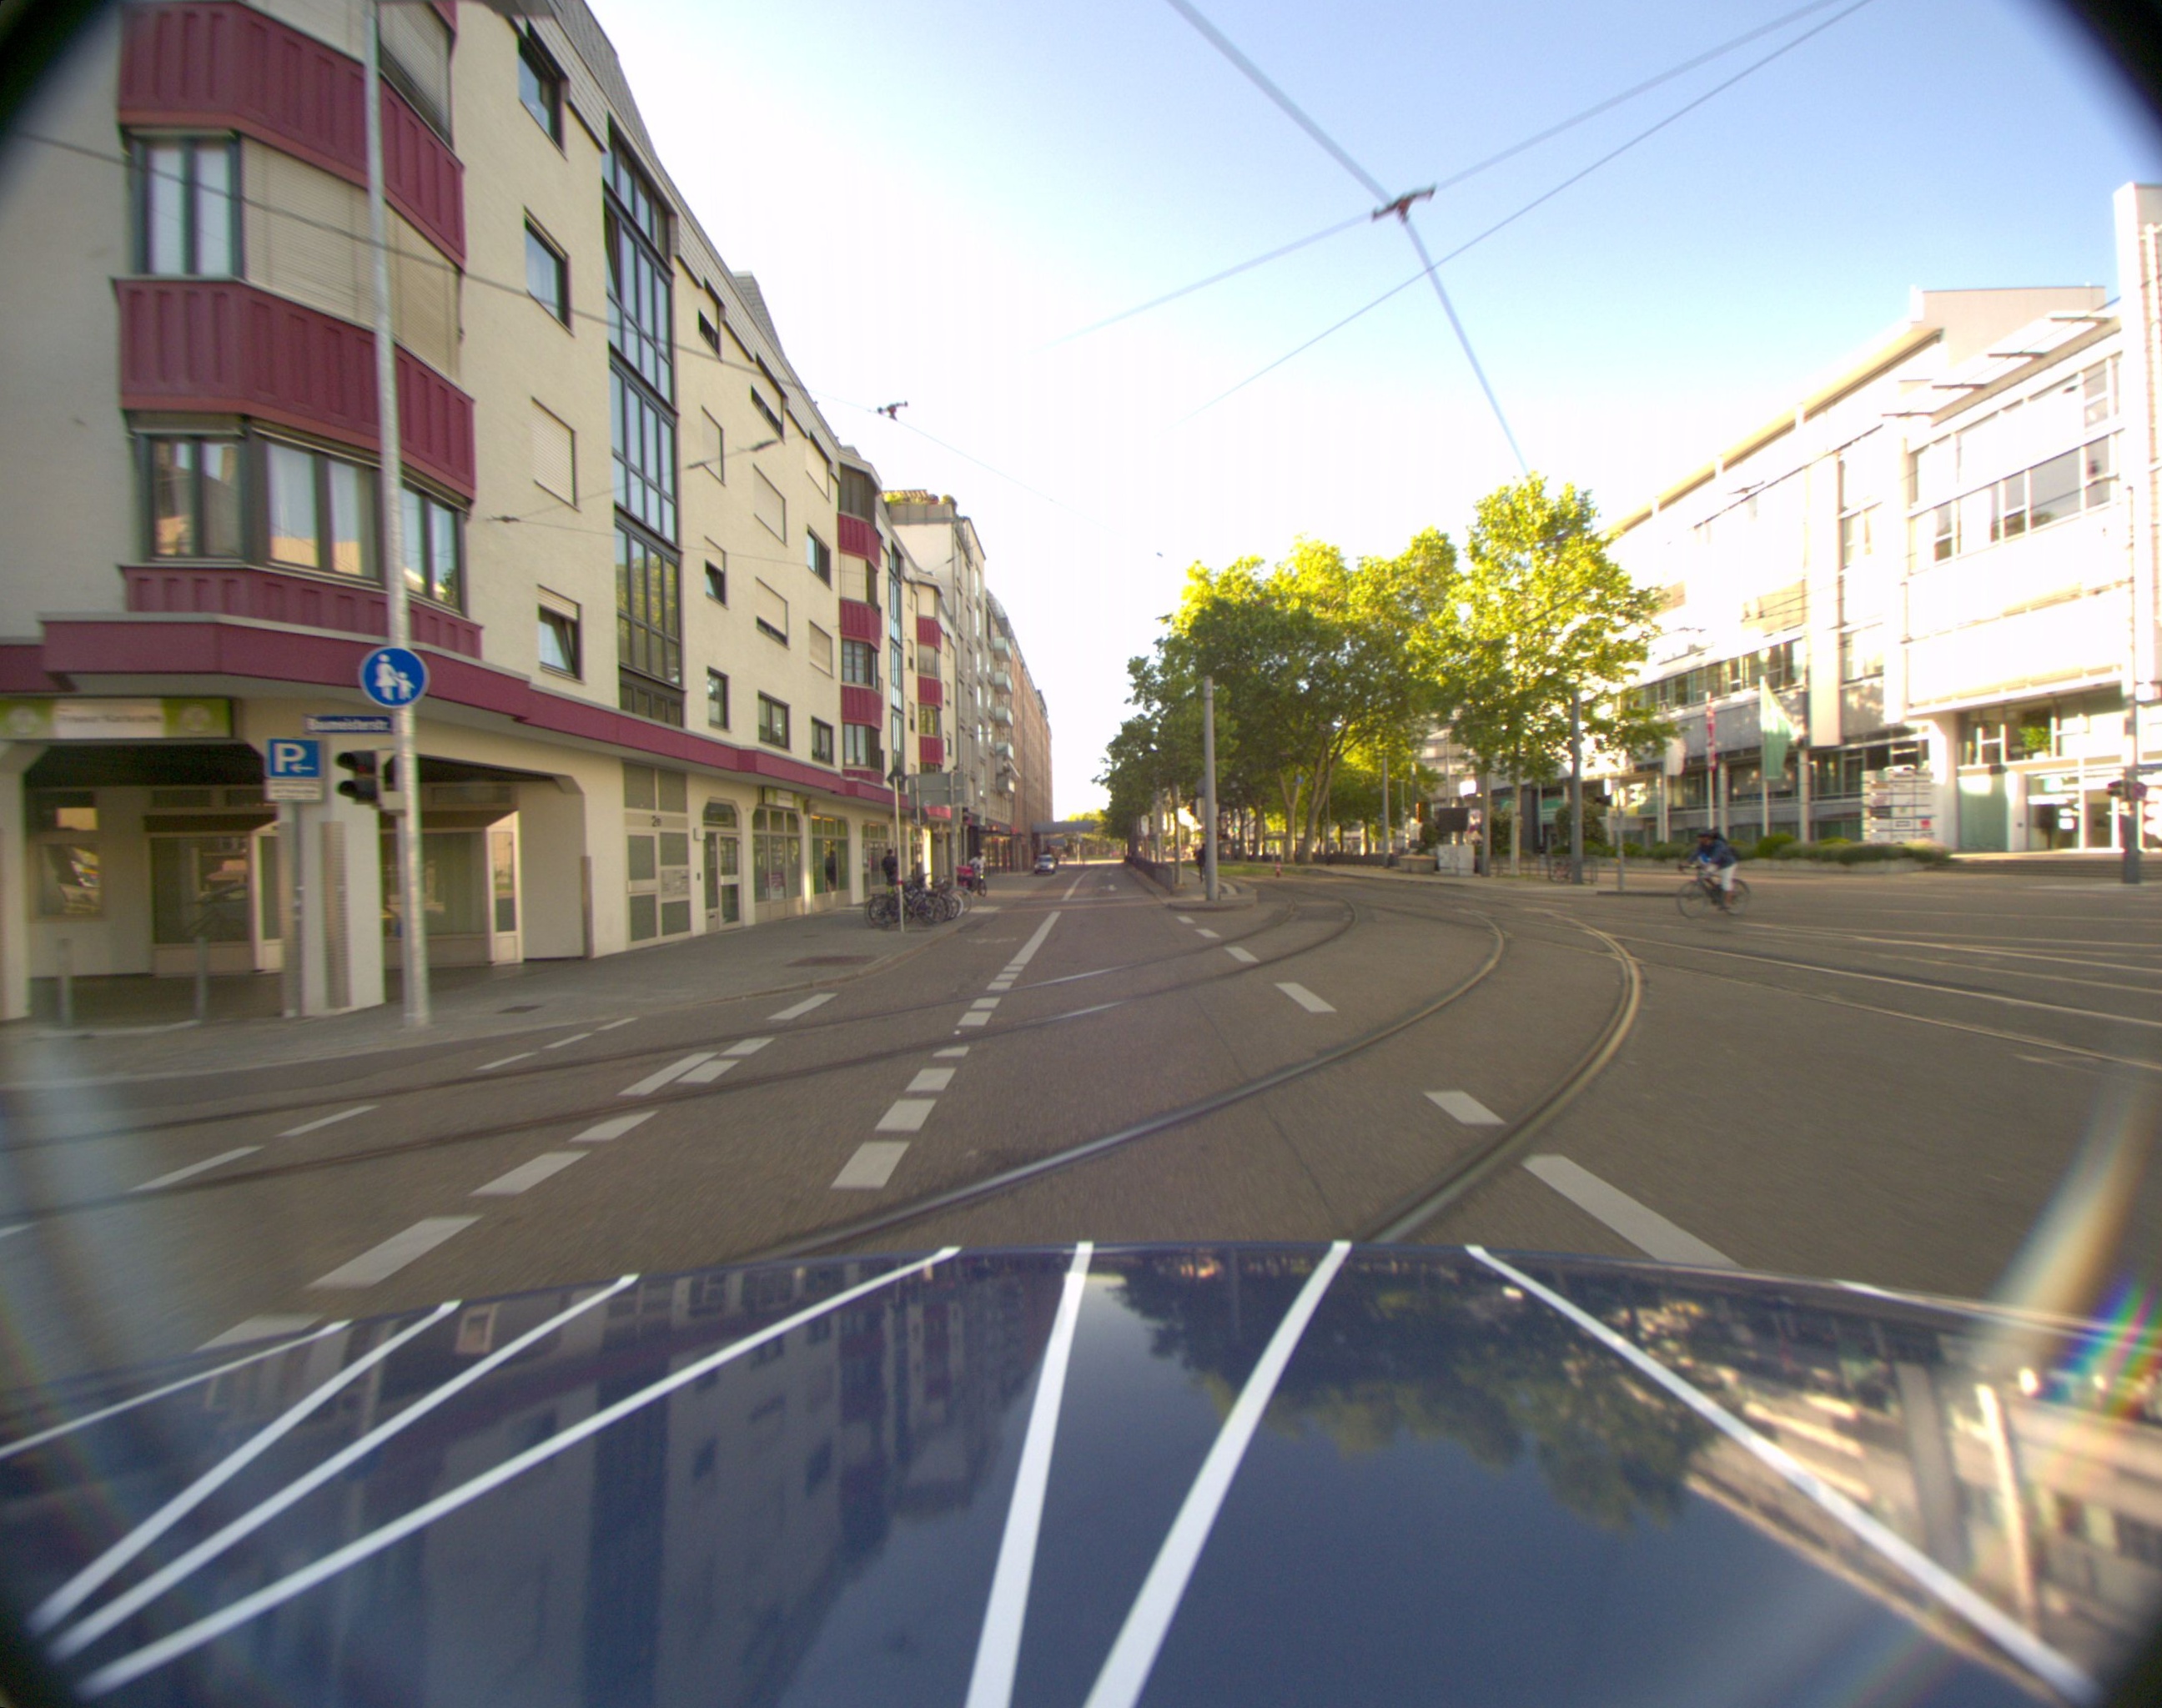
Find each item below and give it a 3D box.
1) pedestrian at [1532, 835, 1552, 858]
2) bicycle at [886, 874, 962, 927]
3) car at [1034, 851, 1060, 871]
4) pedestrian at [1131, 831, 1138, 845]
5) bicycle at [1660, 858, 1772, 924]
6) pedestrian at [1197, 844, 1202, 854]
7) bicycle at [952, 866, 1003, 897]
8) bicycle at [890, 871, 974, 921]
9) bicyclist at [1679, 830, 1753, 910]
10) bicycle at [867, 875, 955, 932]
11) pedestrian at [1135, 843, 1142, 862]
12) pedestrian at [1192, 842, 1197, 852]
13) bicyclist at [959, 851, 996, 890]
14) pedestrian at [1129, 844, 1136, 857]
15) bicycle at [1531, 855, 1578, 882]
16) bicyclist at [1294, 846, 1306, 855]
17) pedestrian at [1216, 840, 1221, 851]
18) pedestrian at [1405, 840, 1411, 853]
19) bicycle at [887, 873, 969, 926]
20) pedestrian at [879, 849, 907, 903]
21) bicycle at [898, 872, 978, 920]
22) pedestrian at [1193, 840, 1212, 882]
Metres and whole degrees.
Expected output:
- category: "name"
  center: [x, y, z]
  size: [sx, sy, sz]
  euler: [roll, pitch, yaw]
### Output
- category: "pedestrian"
  center: [32.206, -0.530, 53.083]
  size: [0.908, 1.583, 0.767]
  euler: [-1, 1, 2]
- category: "bicycle"
  center: [-3.656, 1.082, 17.719]
  size: [1.626, 1.192, 0.496]
  euler: [-1, 1, 6]
- category: "car"
  center: [-2.861, 0.566, 64.757]
  size: [1.837, 1.613, 4.285]
  euler: [1, 1, 3]
- category: "pedestrian"
  center: [6.580, -1.966, 93.089]
  size: [0.708, 1.792, 0.826]
  euler: [-2, 1, -5]
- category: "bicycle"
  center: [12.449, 0.698, 14.896]
  size: [2.044, 1.182, 0.590]
  euler: [-2, 1, -15]
- category: "pedestrian"
  center: [19.097, -0.804, 122.721]
  size: [0.656, 1.744, 0.676]
  euler: [-2, 1, -6]
- category: "bicycle"
  center: [-4.244, 1.080, 30.963]
  size: [0.965, 1.176, 2.591]
  euler: [-2, 1, -35]
- category: "bicycle"
  center: [-3.749, 1.053, 19.180]
  size: [1.982, 1.192, 0.591]
  euler: [-1, 1, -2]
- category: "bicyclist"
  center: [12.430, 0.301, 14.882]
  size: [0.882, 1.485, 0.722]
  euler: [-2, 1, -15]
- category: "bicycle"
  center: [-3.784, 1.100, 16.982]
  size: [1.805, 1.193, 0.546]
  euler: [-1, 2, 6]
- category: "pedestrian"
  center: [5.764, -0.158, 76.091]
  size: [0.647, 1.876, 0.661]
  euler: [-1, 1, 2]
- category: "pedestrian"
  center: [18.361, -1.141, 122.814]
  size: [0.686, 1.686, 0.699]
  euler: [-2, 1, -6]
- category: "bicyclist"
  center: [-4.203, 0.668, 30.884]
  size: [1.062, 1.531, 1.076]
  euler: [-2, 1, -35]
- category: "pedestrian"
  center: [6.911, -0.495, 101.606]
  size: [0.742, 1.680, 0.645]
  euler: [-4, 1, 1]
- category: "bicycle"
  center: [17.348, 0.519, 27.883]
  size: [0.814, 0.940, 1.727]
  euler: [-1, 0, 8]
- category: "bicyclist"
  center: [29.749, -0.460, 103.181]
  size: [1.007, 1.243, 1.374]
  euler: [-3, 0, -4]
- category: "pedestrian"
  center: [19.289, -1.168, 106.807]
  size: [0.554, 1.488, 0.550]
  euler: [-2, 1, -9]
- category: "pedestrian"
  center: [42.040, -0.939, 97.776]
  size: [0.579, 1.595, 0.580]
  euler: [-2, 1, 7]
- category: "bicycle"
  center: [-3.682, 1.084, 18.292]
  size: [1.835, 1.214, 0.496]
  euler: [-1, 1, 5]
- category: "pedestrian"
  center: [-6.551, 0.759, 26.523]
  size: [0.724, 1.847, 0.801]
  euler: [-1, 1, 1]
- category: "bicycle"
  center: [-3.710, 1.094, 19.801]
  size: [1.945, 1.163, 0.572]
  euler: [-1, 1, -1]
- category: "pedestrian"
  center: [5.195, 0.292, 32.500]
  size: [0.735, 1.736, 0.712]
  euler: [-2, 1, 7]
